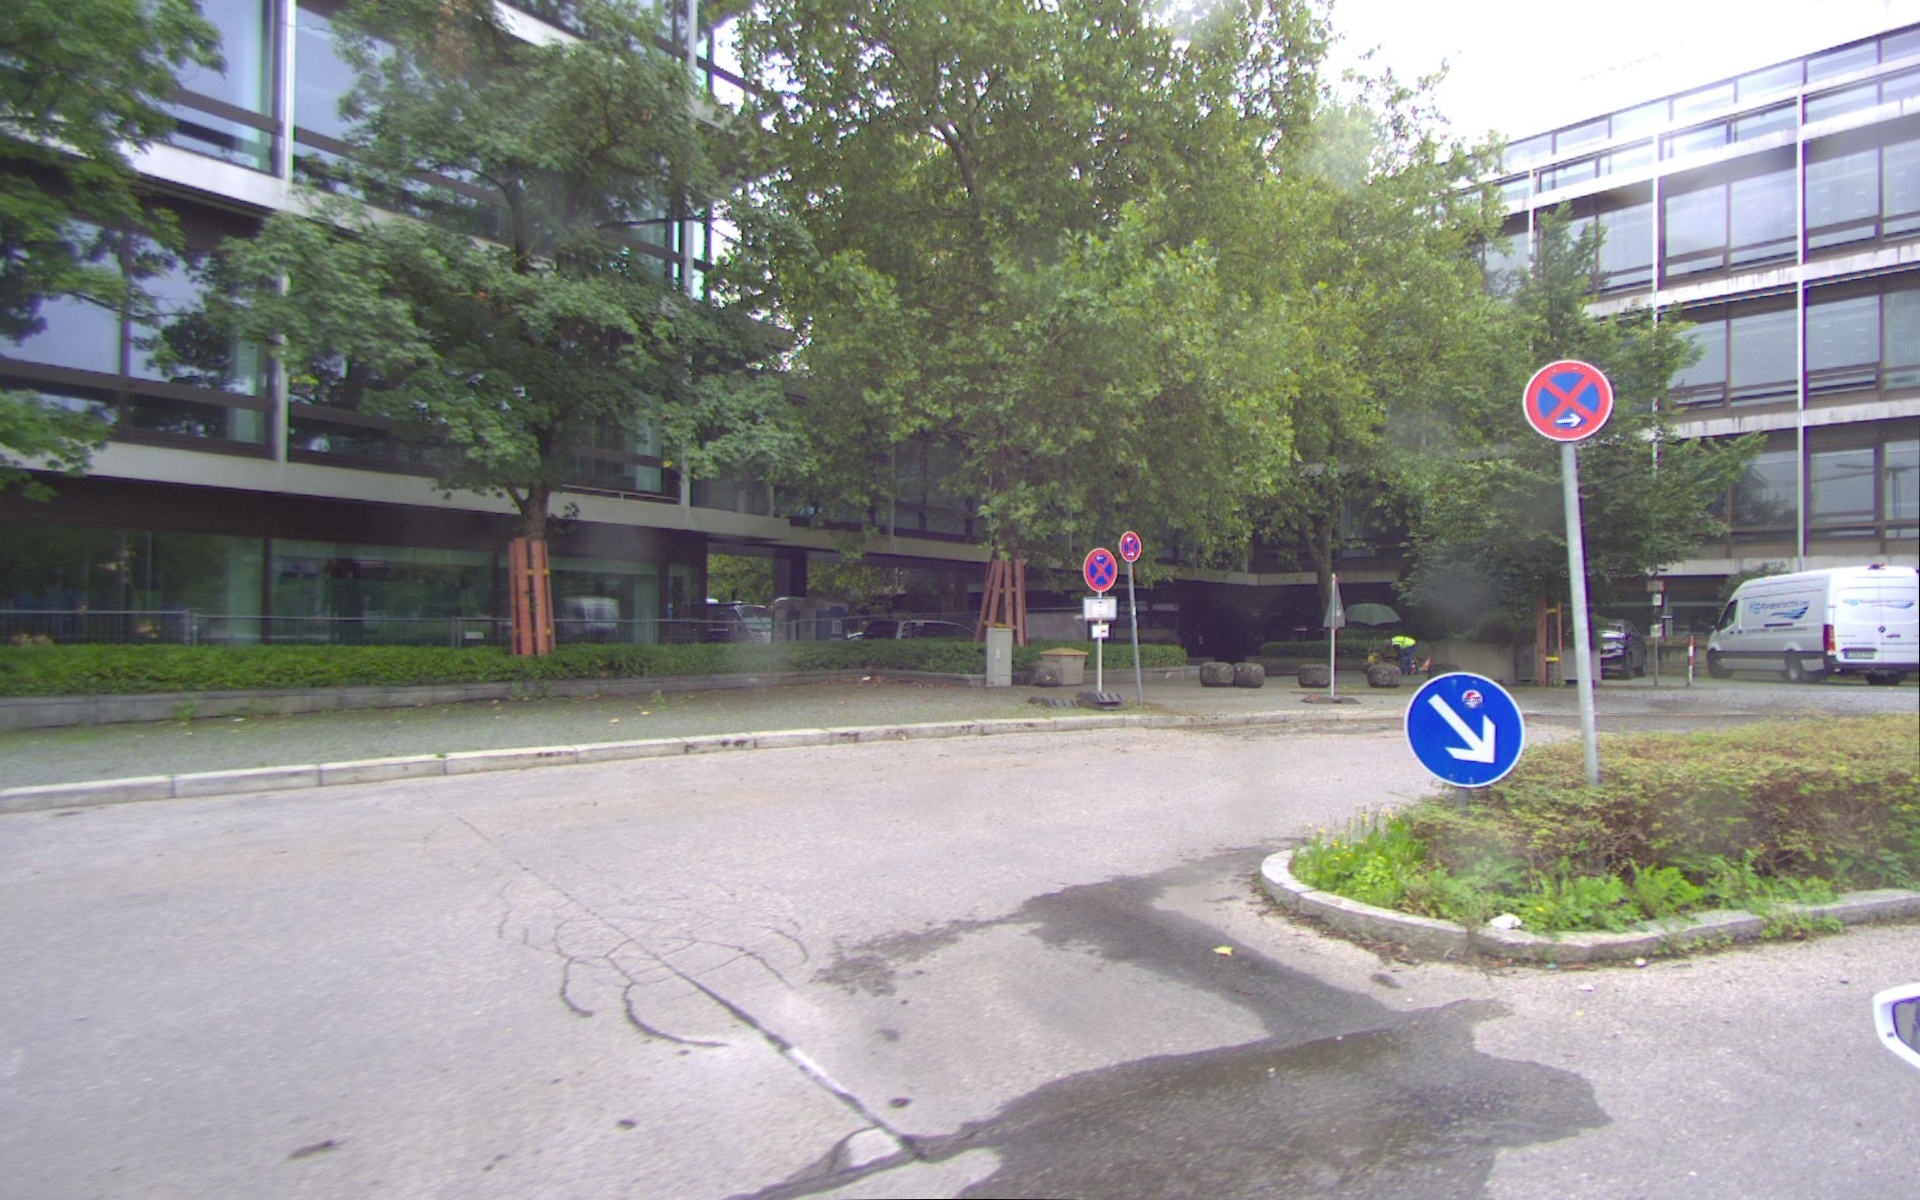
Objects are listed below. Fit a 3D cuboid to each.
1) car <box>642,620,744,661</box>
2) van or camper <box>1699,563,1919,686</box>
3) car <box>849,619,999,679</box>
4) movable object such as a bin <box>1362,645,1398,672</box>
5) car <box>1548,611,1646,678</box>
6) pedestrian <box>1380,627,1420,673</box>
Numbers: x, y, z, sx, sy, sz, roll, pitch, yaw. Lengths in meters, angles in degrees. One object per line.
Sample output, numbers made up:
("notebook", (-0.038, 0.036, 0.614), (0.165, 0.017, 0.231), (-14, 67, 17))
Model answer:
("car", (-10.326, 1.539, 38.754), (3.799, 1.493, 1.906), (-1, -2, 37))
("van or camper", (20.803, 0.680, 24.710), (2.119, 2.614, 6.543), (1, -3, 17))
("car", (-0.909, 1.269, 26.965), (1.887, 1.493, 3.838), (-1, -2, 43))
("movable object such as a bin", (12.381, 1.711, 29.620), (0.569, 0.763, 0.826), (1, -1, -45))
("car", (18.049, 1.214, 28.392), (1.918, 1.744, 4.221), (-1, -2, 38))
("pedestrian", (12.817, 1.457, 29.266), (0.916, 1.295, 0.538), (0, -1, 45))
